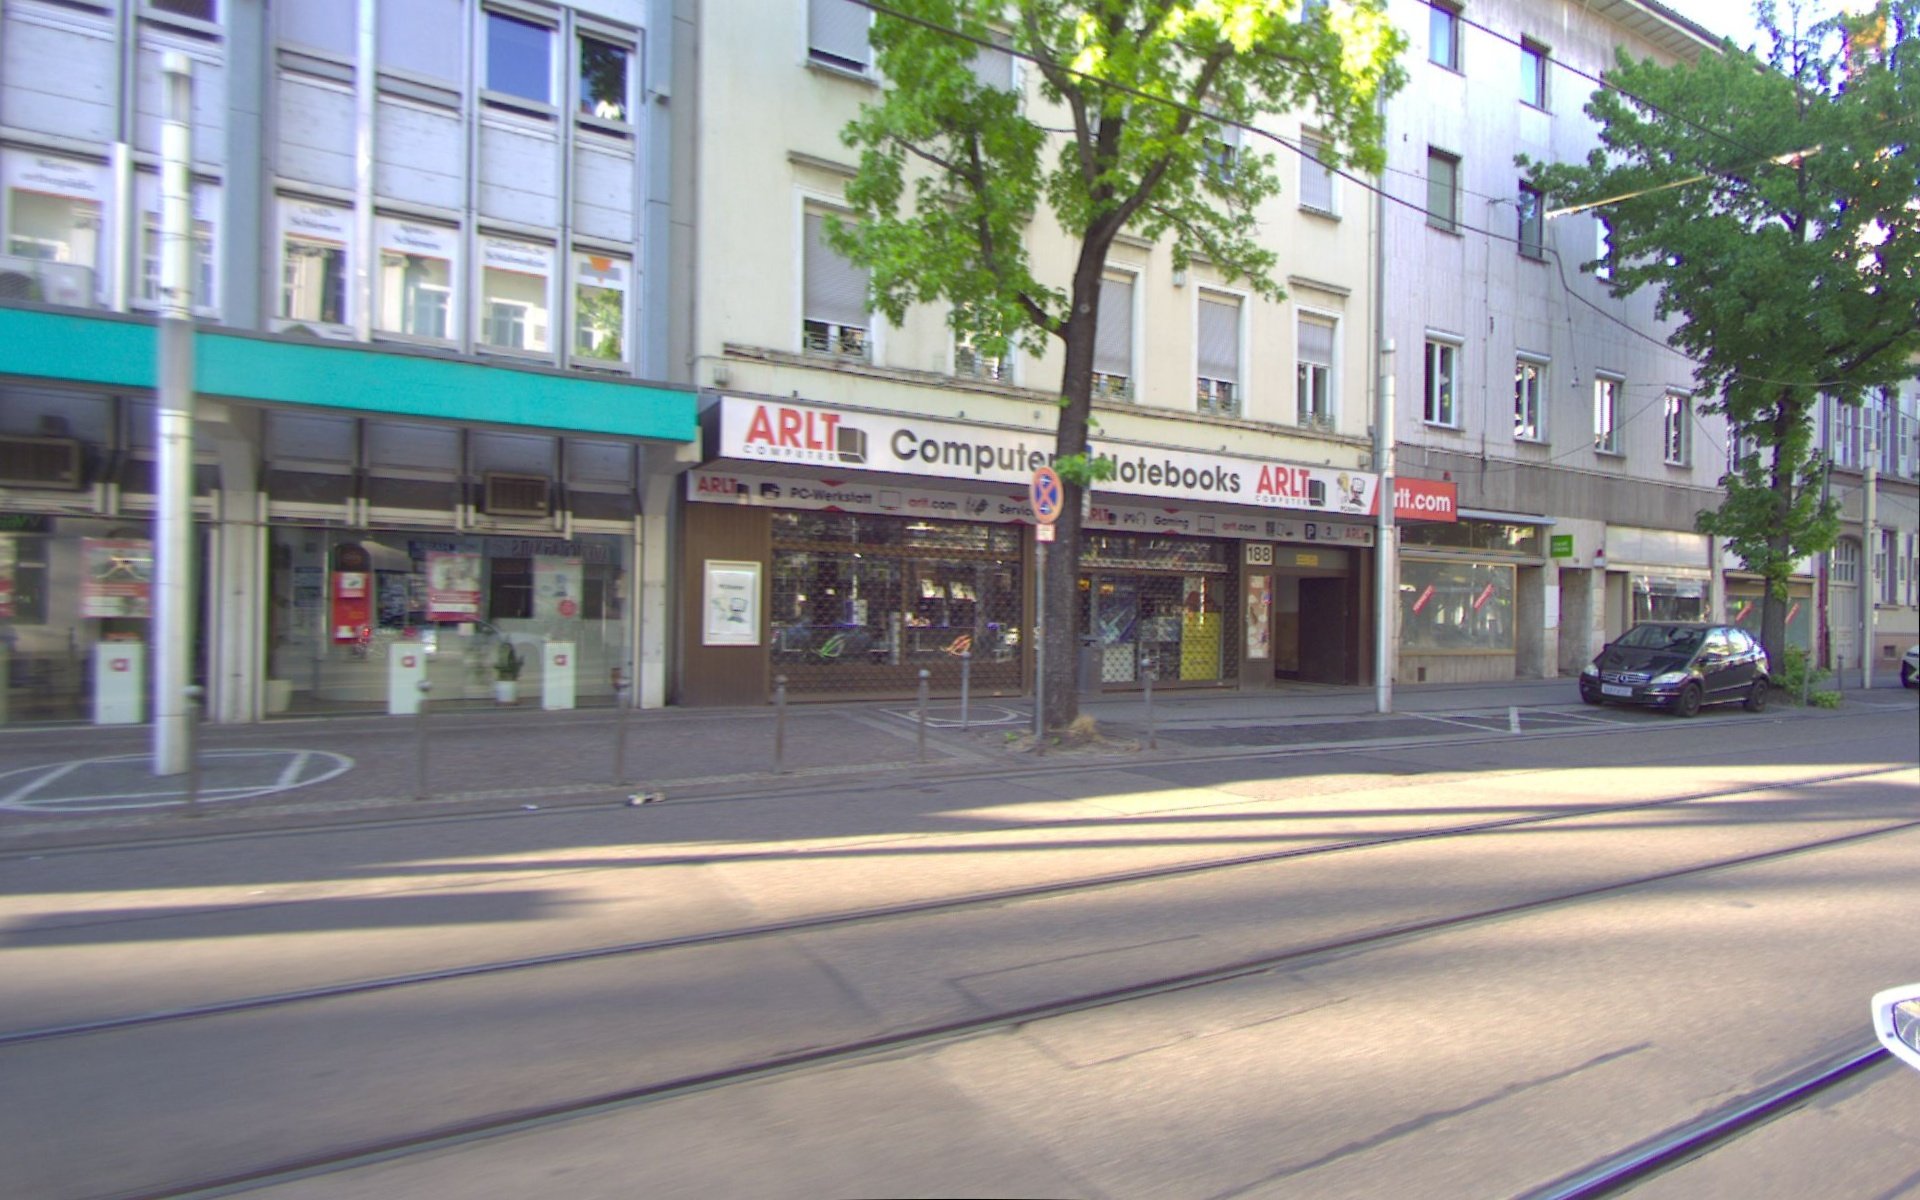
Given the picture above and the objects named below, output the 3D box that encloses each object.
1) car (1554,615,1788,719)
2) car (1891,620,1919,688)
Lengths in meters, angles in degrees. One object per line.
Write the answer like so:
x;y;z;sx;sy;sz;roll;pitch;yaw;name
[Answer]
13.284;1.188;18.760;3.950;1.662;1.954;2;2;-28;car
26.007;1.418;25.531;4.753;1.662;1.953;2;2;-29;car
